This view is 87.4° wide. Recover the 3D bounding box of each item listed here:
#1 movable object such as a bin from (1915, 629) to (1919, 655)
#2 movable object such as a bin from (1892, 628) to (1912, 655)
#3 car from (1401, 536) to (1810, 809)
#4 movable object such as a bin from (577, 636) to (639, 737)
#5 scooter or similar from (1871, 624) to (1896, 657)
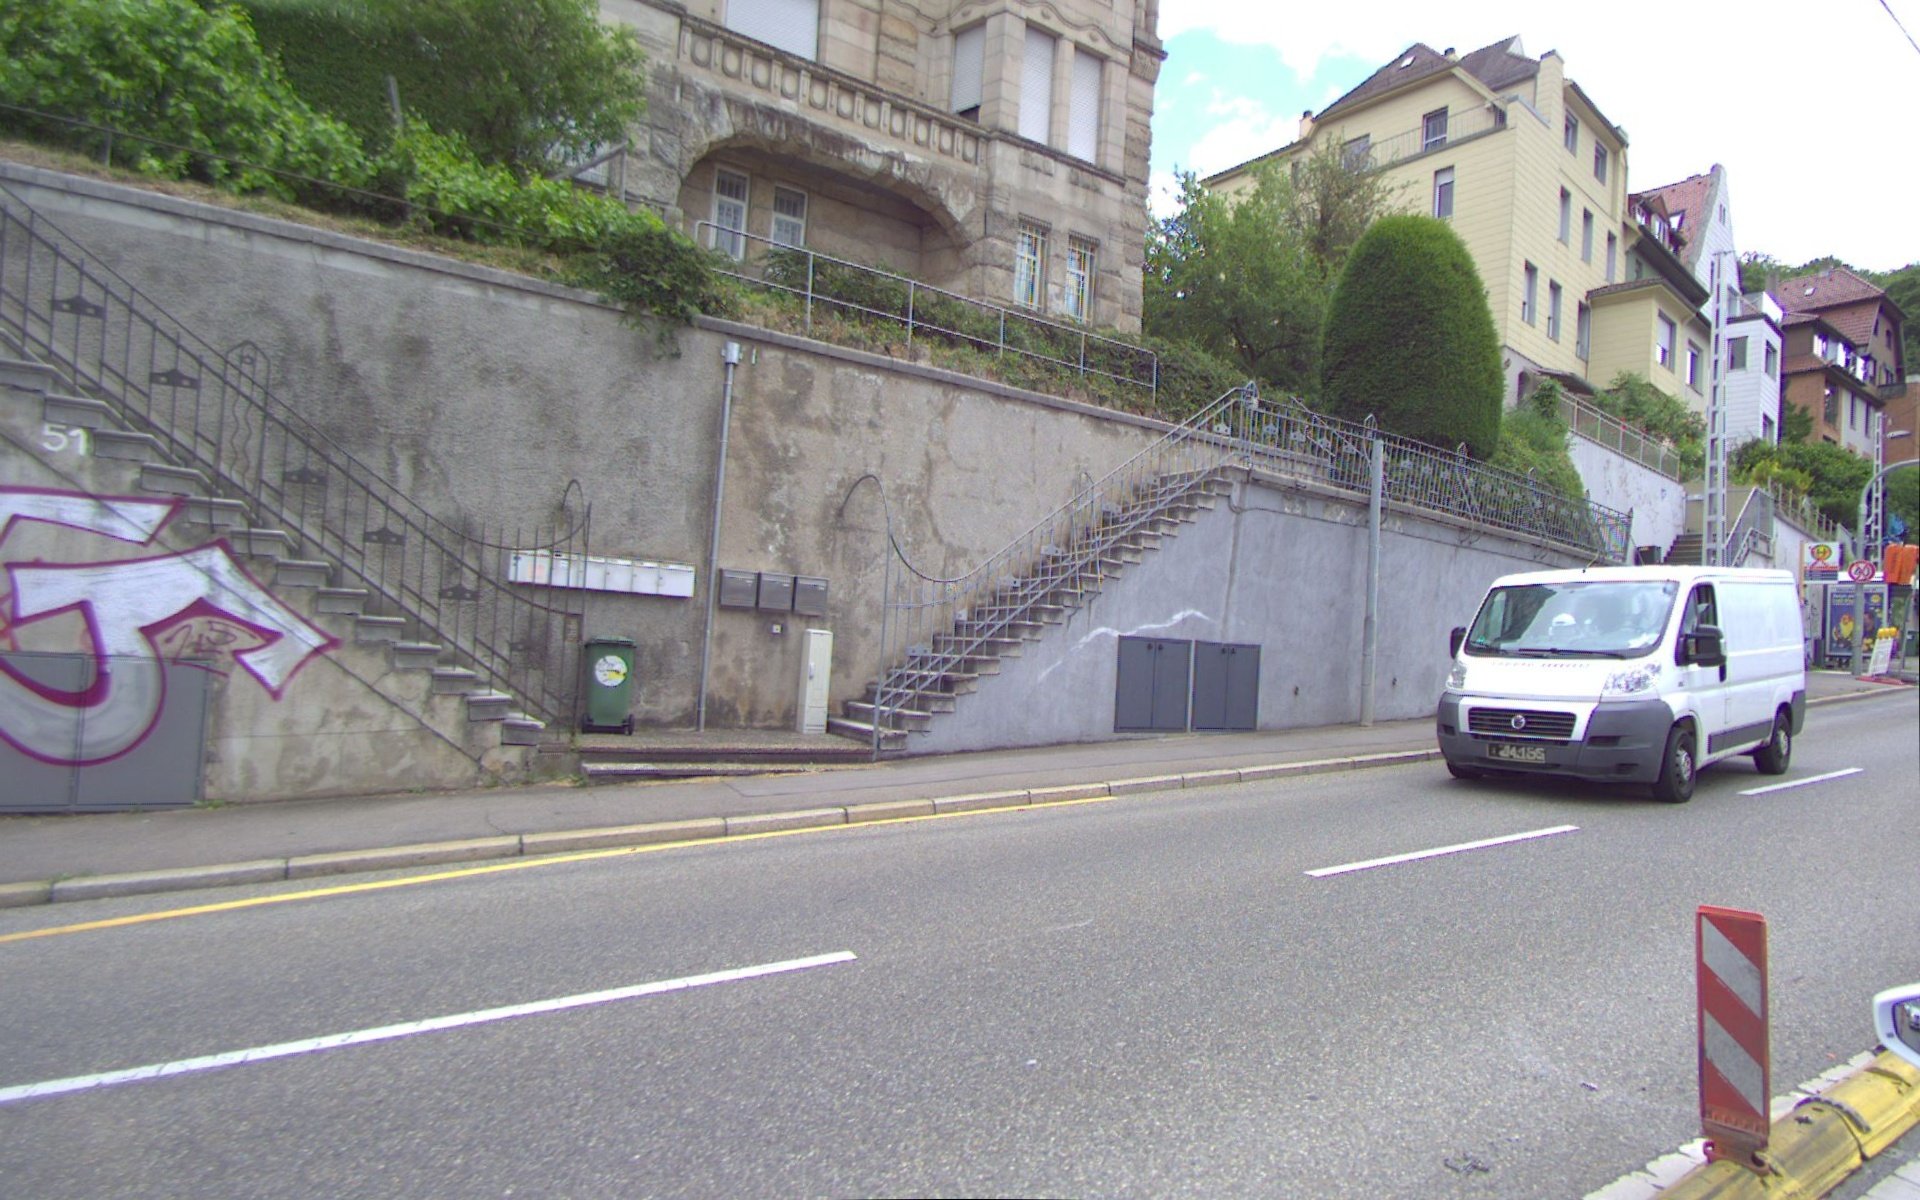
[{"bbox_3d":[38.906,1.701,40.502,0.618,1.068,0.464,1,1,-38],"label":"movable object such as a bin"},{"bbox_3d":[38.503,1.686,41.061,0.618,1.068,0.464,1,1,-38],"label":"movable object such as a bin"},{"bbox_3d":[6.900,0.665,10.529,4.917,2.216,2.052,1,-3,-38],"label":"car"},{"bbox_3d":[-3.399,0.818,9.687,0.501,0.923,0.452,1,-1,-28],"label":"movable object such as a bin"},{"bbox_3d":[34.598,1.507,37.620,1.423,1.221,0.455,1,2,-40],"label":"scooter or similar"}]
